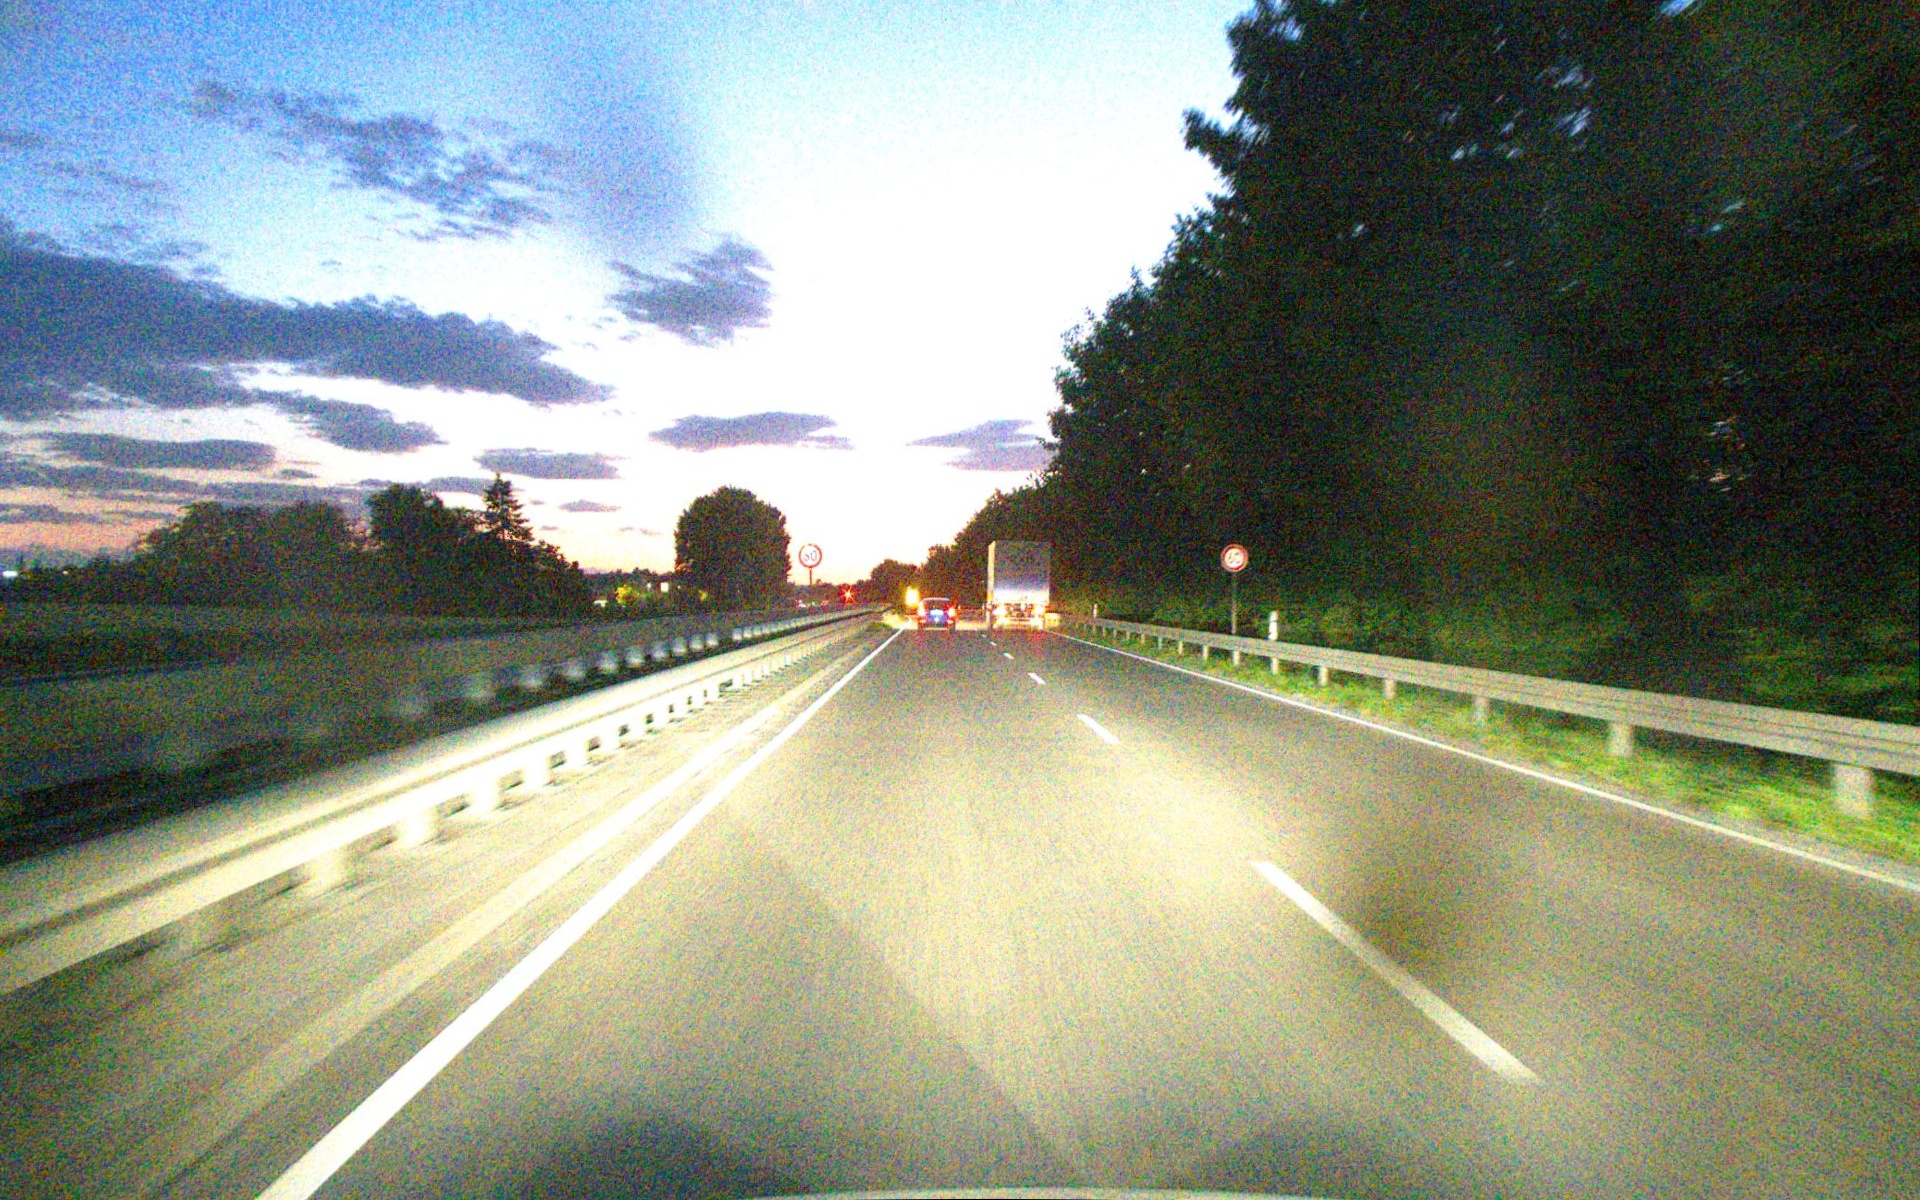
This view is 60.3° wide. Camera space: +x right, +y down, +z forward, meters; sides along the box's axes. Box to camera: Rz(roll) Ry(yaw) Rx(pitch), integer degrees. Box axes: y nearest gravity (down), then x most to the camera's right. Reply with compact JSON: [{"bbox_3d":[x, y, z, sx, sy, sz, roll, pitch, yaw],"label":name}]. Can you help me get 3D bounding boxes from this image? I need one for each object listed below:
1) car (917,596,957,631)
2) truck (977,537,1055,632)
[{"bbox_3d":[-1.040,0.570,73.386,1.661,1.478,3.912,1,0,-2],"label":"car"},{"bbox_3d":[2.531,-0.752,79.654,2.825,4.178,12.678,1,0,-2],"label":"truck"}]
